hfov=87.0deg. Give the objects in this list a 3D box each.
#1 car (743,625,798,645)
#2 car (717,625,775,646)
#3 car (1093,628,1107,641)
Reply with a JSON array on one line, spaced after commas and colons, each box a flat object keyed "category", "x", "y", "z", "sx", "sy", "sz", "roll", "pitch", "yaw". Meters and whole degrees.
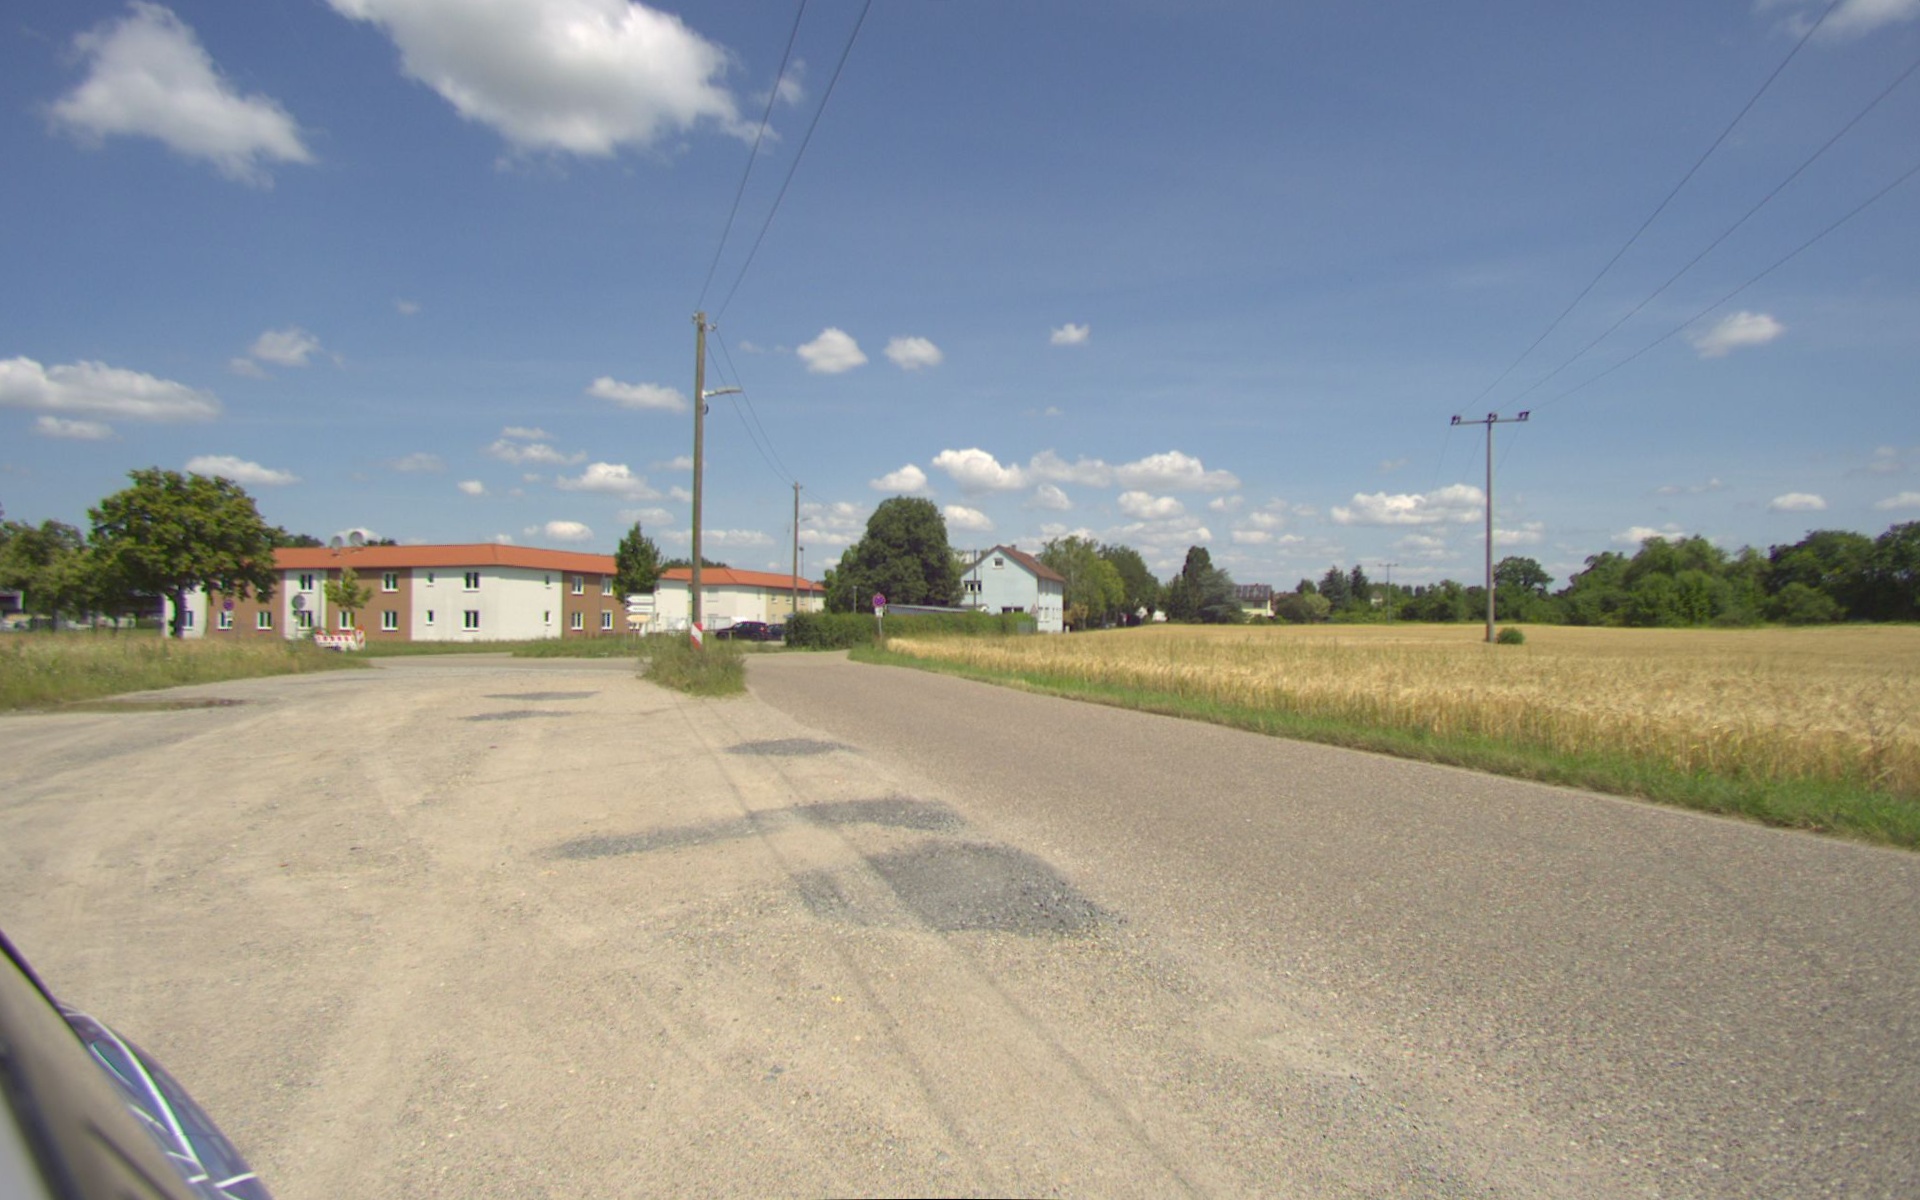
[{"category": "car", "x": -15.861, "y": 2.895, "z": 84.794, "sx": 4.109, "sy": 1.627, "sz": 1.990, "roll": 0, "pitch": -2, "yaw": 15}, {"category": "car", "x": -17.137, "y": 2.821, "z": 81.087, "sx": 4.109, "sy": 1.627, "sz": 1.990, "roll": 0, "pitch": -2, "yaw": 15}, {"category": "car", "x": 20.623, "y": 5.078, "z": 149.342, "sx": 1.732, "sy": 1.692, "sz": 4.238, "roll": -1, "pitch": -1, "yaw": 13}]
